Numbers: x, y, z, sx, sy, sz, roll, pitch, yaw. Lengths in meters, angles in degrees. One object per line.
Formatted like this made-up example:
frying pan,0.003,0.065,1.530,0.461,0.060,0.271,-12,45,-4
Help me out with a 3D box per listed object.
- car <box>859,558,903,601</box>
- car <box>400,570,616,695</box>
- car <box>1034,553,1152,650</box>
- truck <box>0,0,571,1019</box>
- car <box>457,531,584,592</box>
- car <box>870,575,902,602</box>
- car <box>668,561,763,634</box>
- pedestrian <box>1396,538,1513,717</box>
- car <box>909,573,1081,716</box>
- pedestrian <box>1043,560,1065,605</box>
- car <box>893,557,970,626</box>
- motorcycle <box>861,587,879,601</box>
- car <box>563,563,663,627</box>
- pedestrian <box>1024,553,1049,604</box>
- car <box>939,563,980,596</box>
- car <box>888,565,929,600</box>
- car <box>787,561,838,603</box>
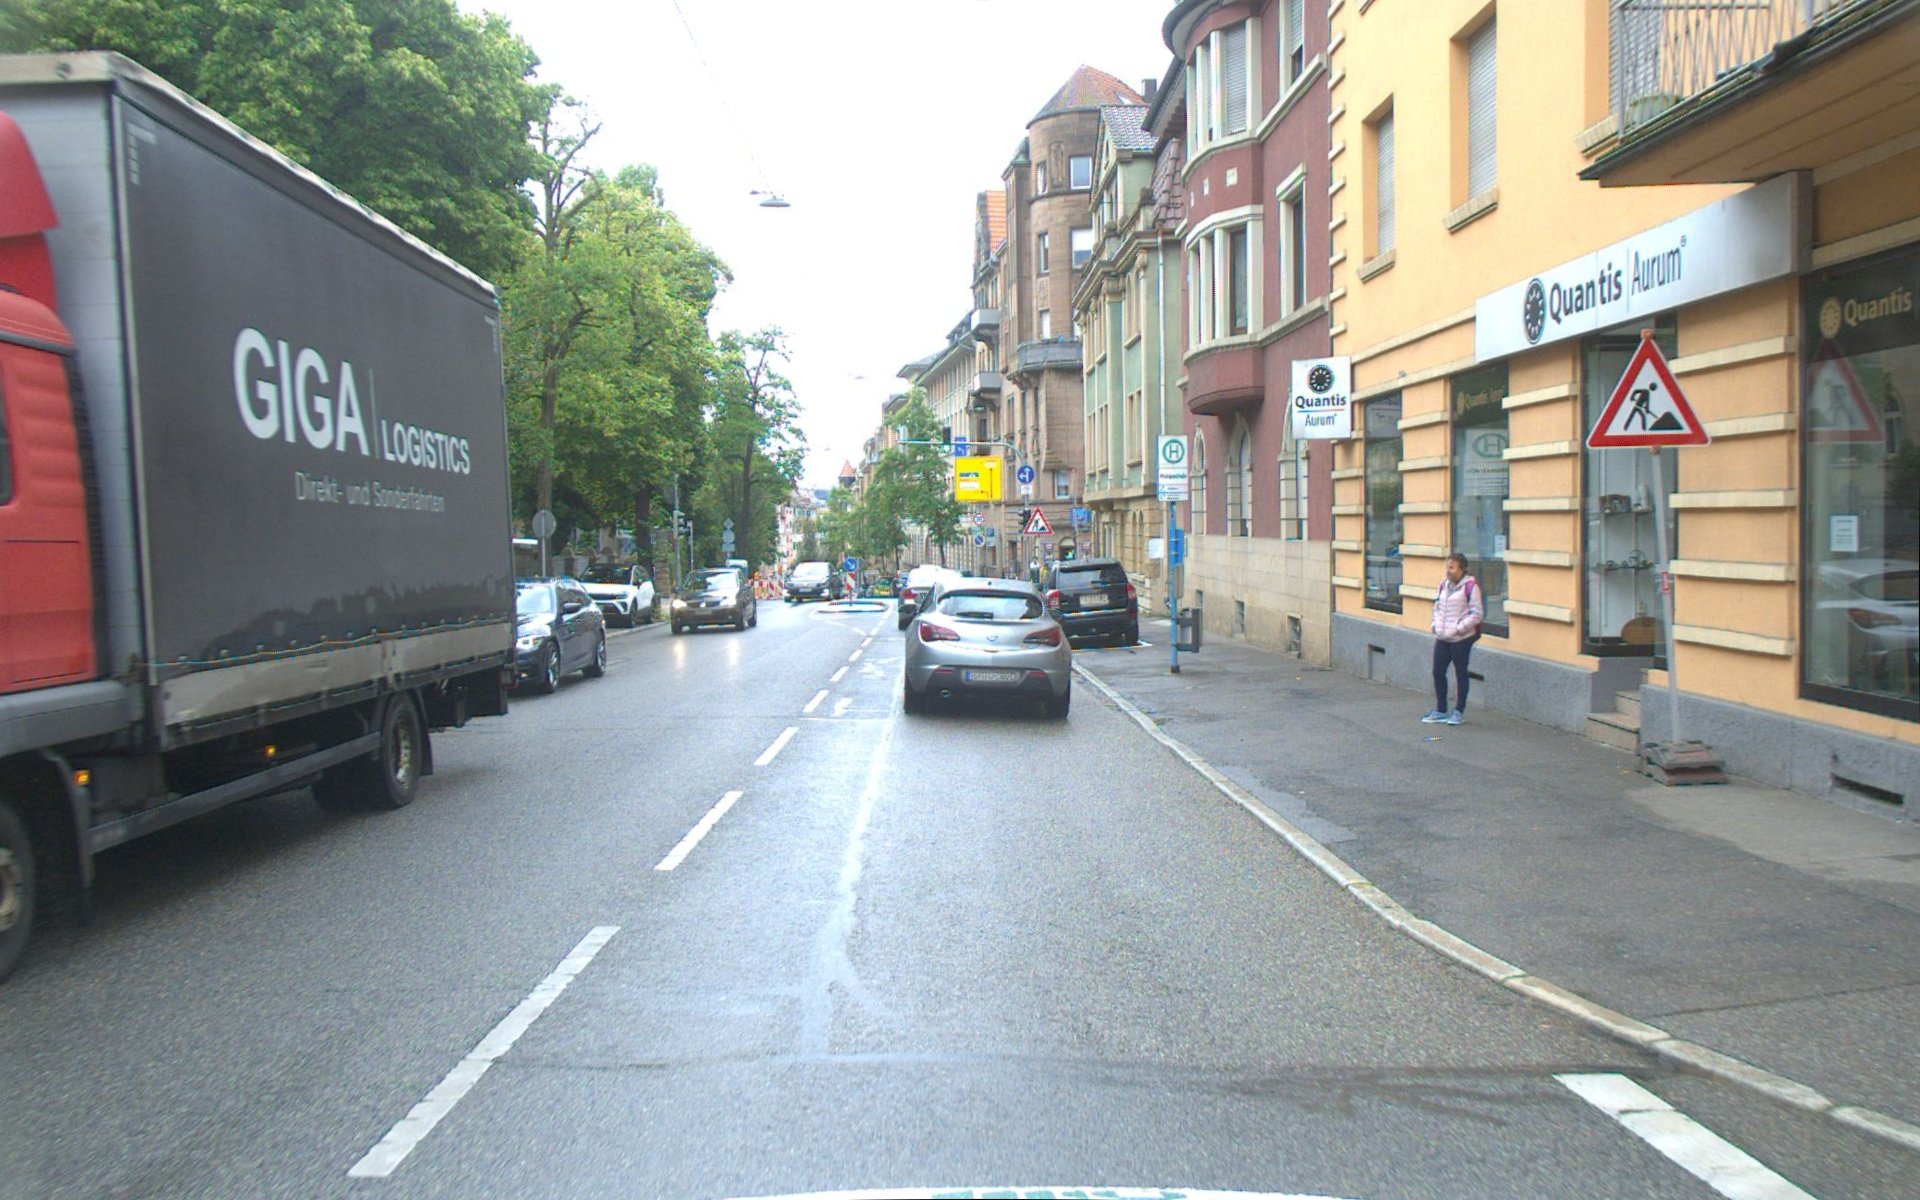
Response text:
car,-3.128,-0.806,66.037,1.623,1.570,3.664,-3,0,-2
car,-6.041,0.359,22.699,1.736,1.493,4.747,-1,1,-2
car,2.548,0.023,32.646,1.839,1.658,4.697,-4,0,0
truck,-4.713,-0.504,9.559,2.594,3.921,9.306,-3,1,0
car,-18.266,-1.625,68.784,4.565,2.083,2.027,5,3,14
car,-4.633,-0.686,103.569,1.625,1.570,3.659,-3,0,-7
car,-5.947,-0.115,40.674,1.736,1.543,4.591,-1,3,-1
pedestrian,4.624,0.249,15.494,0.755,1.617,0.708,-1,0,-20
car,0.379,0.453,19.067,1.774,1.475,3.869,0,0,0
pedestrian,3.410,-0.643,60.262,0.584,1.612,0.666,-2,2,18
car,-0.652,-0.199,39.284,1.736,1.531,3.869,0,0,0
motorcycle,-8.452,-0.586,155.071,0.643,1.257,1.977,0,-1,32
car,-9.047,-0.133,43.470,1.706,1.586,4.302,1,0,0
pedestrian,2.806,-0.787,60.490,0.703,1.805,0.666,-2,2,18
car,-0.053,-1.061,87.642,1.625,1.570,3.659,-3,0,-7
car,-2.597,-0.863,82.962,1.625,1.570,3.659,-3,0,-7
car,-5.686,-0.723,64.065,1.779,1.544,4.546,0,1,-3
